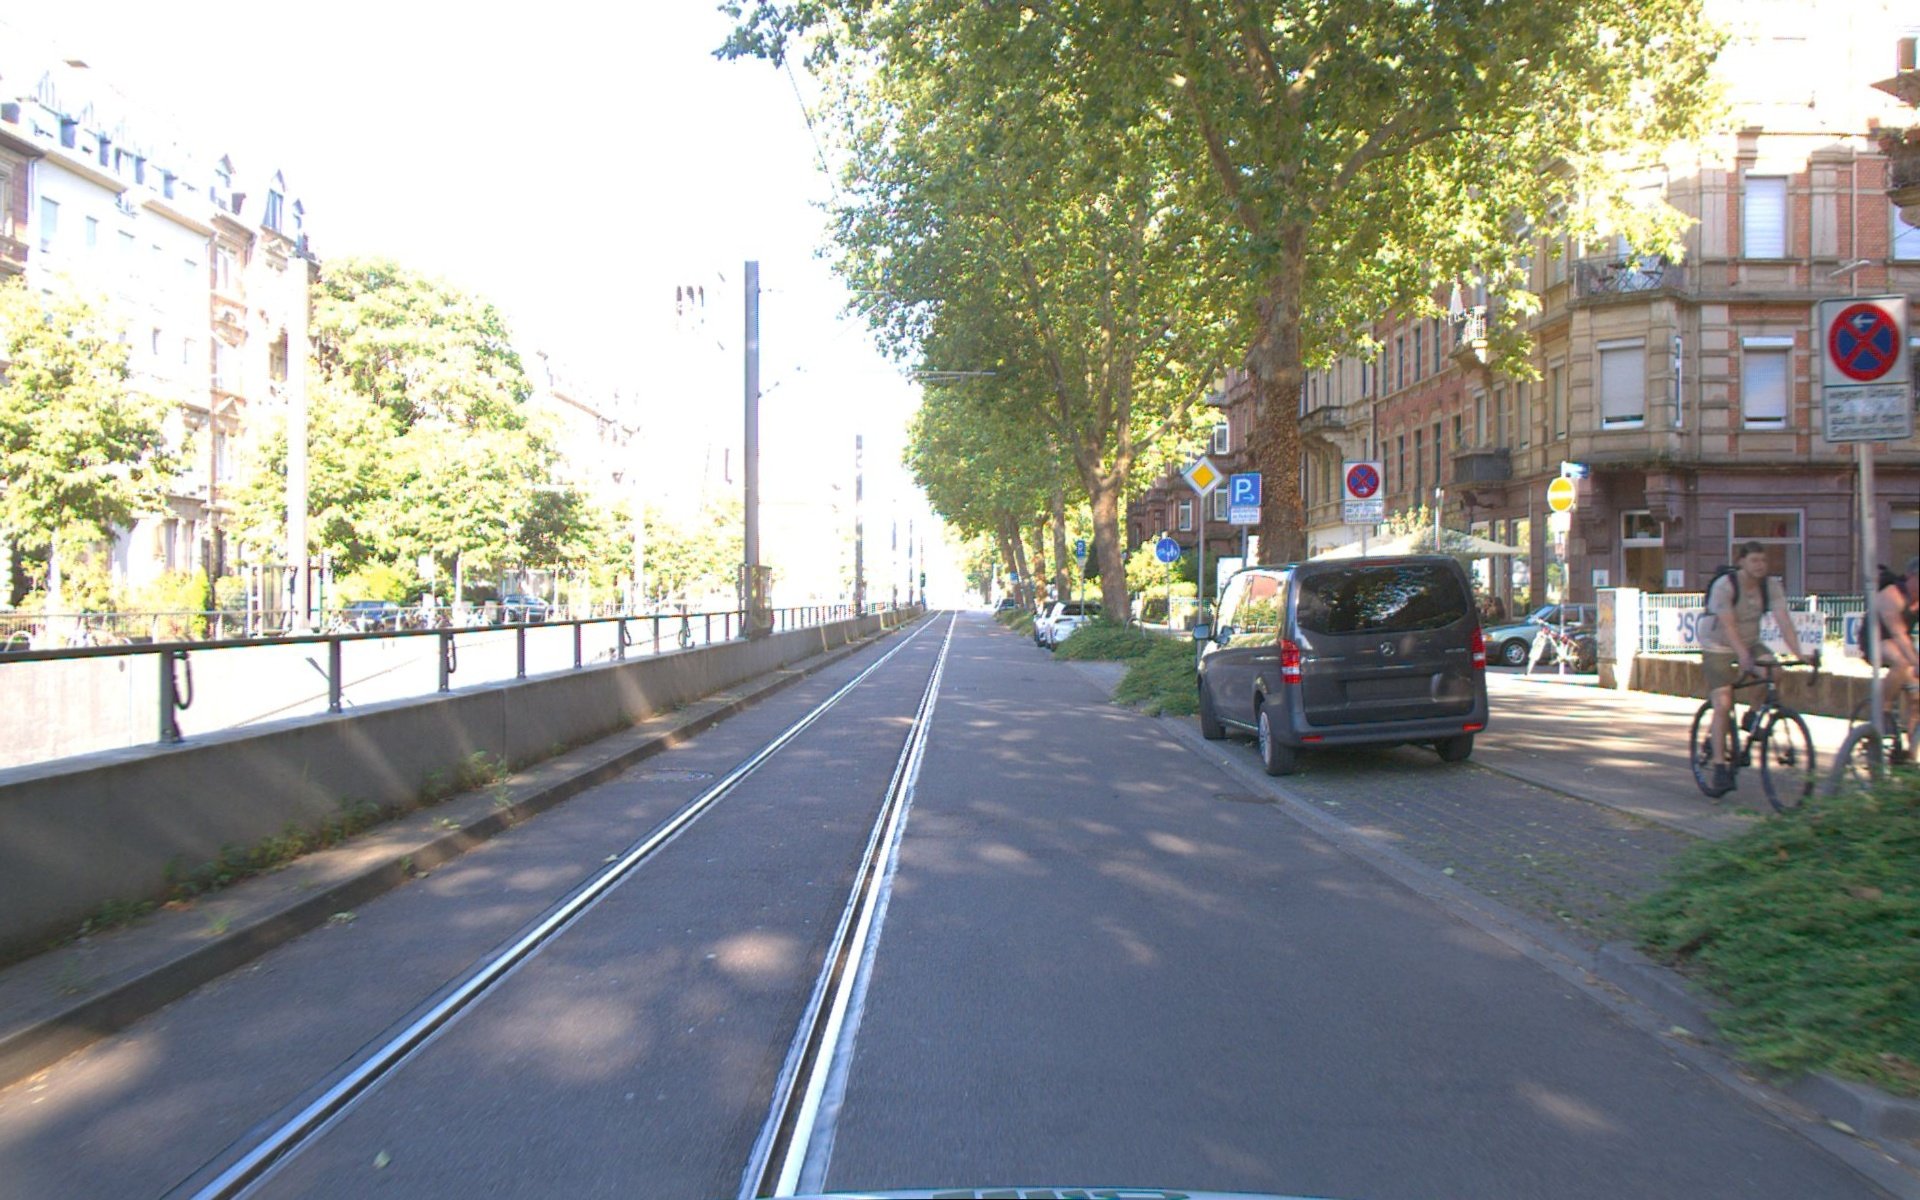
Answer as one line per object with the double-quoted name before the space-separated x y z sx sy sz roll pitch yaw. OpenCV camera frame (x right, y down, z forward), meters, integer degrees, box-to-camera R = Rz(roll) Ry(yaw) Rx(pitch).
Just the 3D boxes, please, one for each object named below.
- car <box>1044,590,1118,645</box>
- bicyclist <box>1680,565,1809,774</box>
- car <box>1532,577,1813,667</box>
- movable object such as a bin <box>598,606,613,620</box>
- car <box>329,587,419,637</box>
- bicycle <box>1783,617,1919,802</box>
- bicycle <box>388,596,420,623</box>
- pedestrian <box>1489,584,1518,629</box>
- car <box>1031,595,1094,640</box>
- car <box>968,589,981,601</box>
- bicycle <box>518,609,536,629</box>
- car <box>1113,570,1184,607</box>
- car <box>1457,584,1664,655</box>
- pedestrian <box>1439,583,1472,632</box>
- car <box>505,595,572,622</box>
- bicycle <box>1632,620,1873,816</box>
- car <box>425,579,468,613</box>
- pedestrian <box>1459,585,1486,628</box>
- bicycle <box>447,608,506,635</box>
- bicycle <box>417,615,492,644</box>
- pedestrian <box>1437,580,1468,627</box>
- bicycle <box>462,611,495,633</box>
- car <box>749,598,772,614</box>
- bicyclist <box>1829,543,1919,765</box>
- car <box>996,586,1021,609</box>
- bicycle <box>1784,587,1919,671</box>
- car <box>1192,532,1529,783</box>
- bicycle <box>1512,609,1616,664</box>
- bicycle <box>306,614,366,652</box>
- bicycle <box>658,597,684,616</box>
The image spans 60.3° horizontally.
"car" 3.528 0.474 48.878 1.766 1.503 4.646 -1 0 -1
"bicyclist" 5.477 0.470 11.567 0.558 1.404 0.644 -2 0 -1
"car" 13.356 0.382 31.154 4.512 1.575 1.920 -1 0 -5
"movable object such as a bin" -24.135 0.897 112.716 0.879 0.935 0.783 1 0 -6
"car" -20.413 0.398 57.786 1.795 1.612 3.999 2 1 -2
"bicycle" 6.583 0.730 11.636 0.549 1.199 2.021 0 0 -1
"bicycle" -24.060 0.392 71.629 0.544 1.117 2.376 1 1 0
"pedestrian" 14.142 0.173 43.040 0.545 1.158 0.526 -1 0 -1
"car" 3.309 0.551 54.099 1.792 1.350 4.000 -1 0 0
"car" 1.888 -0.646 216.255 1.710 1.487 3.644 2 1 -1
"bicycle" -23.837 1.055 91.018 0.449 1.023 1.924 1 -3 -30
"car" 11.846 -0.737 103.927 4.092 2.048 1.999 -4 0 -2
"car" 13.162 0.406 36.371 3.908 1.388 1.742 -1 2 -3
"pedestrian" 13.717 0.209 45.766 0.698 1.323 0.662 -1 0 -1
"car" -26.655 0.544 104.711 3.913 1.652 1.821 0 0 -9
"bicycle" 5.467 0.756 11.577 0.549 1.199 2.225 -2 0 -1
"car" -30.770 -0.261 99.211 1.958 1.881 4.468 1 1 -12
"pedestrian" 13.416 0.173 43.291 0.545 1.121 0.526 -1 0 -1
"bicycle" -20.592 0.924 70.505 2.343 1.117 0.551 1 0 -31
"bicycle" -20.171 1.184 66.038 2.752 1.117 0.636 1 0 -33
"pedestrian" 13.880 0.098 46.612 0.647 1.323 0.715 -1 0 -1
"bicycle" -20.690 0.962 71.120 1.251 0.921 0.533 1 0 -31
"car" -21.126 0.629 175.039 1.680 1.582 4.511 2 1 2
"bicyclist" 6.564 0.362 11.616 0.558 1.513 0.644 -1 0 -1
"car" 3.471 -0.195 118.599 1.583 1.615 4.416 -2 0 -1
"bicycle" 12.956 0.415 23.892 1.823 1.173 0.476 -1 0 3
"car" 3.749 0.435 16.554 1.953 2.048 5.201 -2 1 -1
"bicycle" 10.751 0.643 29.441 1.660 0.933 0.601 -1 0 -12
"bicycle" -20.659 1.078 54.775 1.771 1.199 0.562 2 0 2
"bicycle" -20.555 0.447 117.754 1.694 1.302 0.600 -1 0 6
